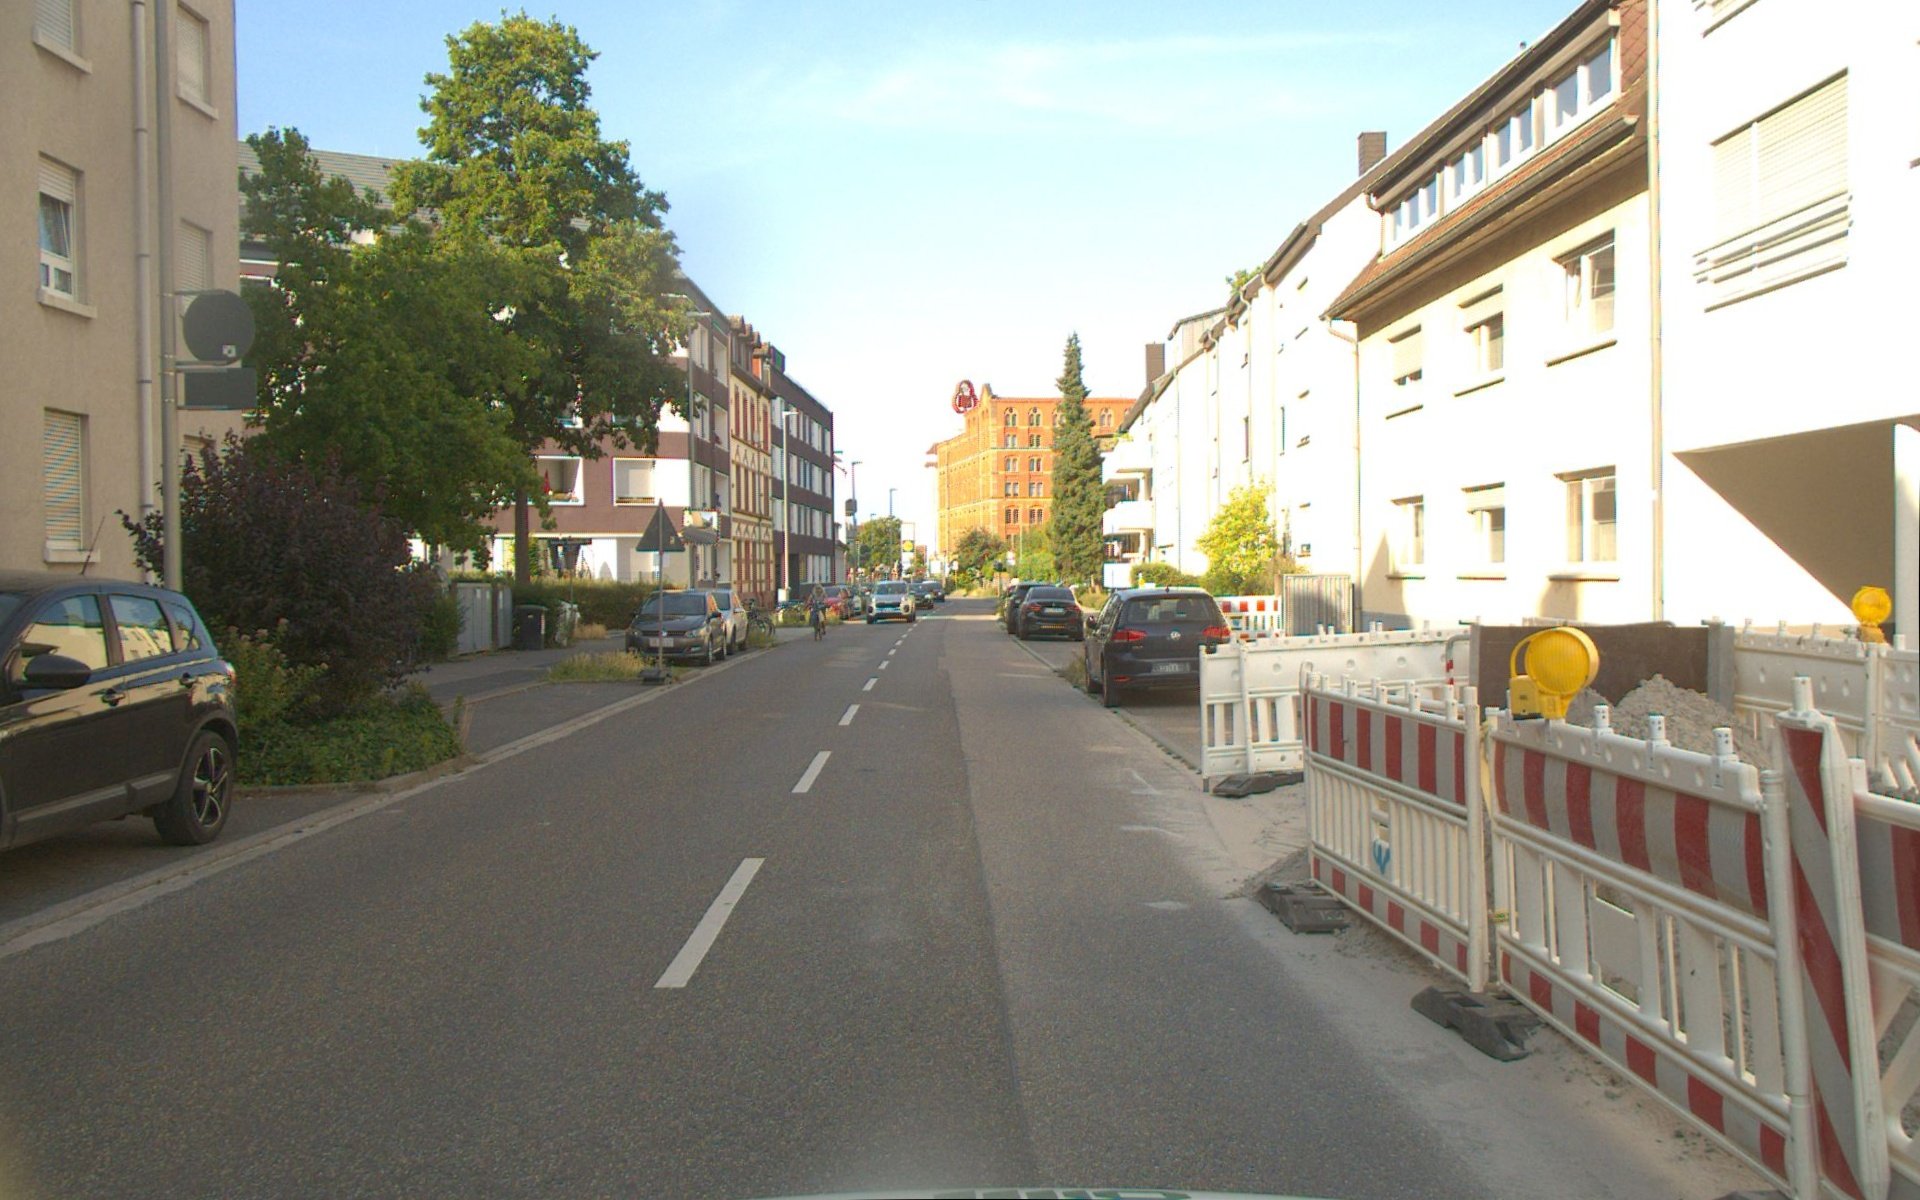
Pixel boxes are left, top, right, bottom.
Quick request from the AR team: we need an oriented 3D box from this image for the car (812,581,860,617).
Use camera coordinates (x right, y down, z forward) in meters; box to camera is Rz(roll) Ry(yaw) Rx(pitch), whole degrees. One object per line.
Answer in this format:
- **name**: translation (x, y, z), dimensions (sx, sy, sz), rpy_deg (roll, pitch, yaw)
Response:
- **car**: translation (-5.357, -0.046, 71.556), dimensions (1.802, 1.489, 3.584), rpy_deg (-1, 1, 0)

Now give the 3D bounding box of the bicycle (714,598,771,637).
- **bicycle**: translation (-6.114, 0.475, 46.613), dimensions (1.554, 1.059, 0.707), rpy_deg (-1, 0, -6)

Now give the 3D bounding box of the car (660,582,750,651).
- **car**: translation (-5.969, 0.348, 39.108), dimensions (1.642, 1.528, 3.998), rpy_deg (-1, 1, -2)

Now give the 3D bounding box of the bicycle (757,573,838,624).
- **bicycle**: translation (-6.068, -0.058, 61.856), dimensions (2.858, 1.808, 1.202), rpy_deg (-1, 0, 0)

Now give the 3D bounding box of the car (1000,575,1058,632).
- **car**: translation (2.139, 0.091, 51.771), dimensions (1.569, 1.674, 3.684), rpy_deg (-1, 1, -1)

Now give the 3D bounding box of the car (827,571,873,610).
- **car**: translation (-5.450, -0.473, 82.354), dimensions (1.953, 1.867, 3.689), rpy_deg (-1, 1, 0)

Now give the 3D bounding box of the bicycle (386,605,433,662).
- **bicycle**: translation (-10.504, 0.626, 31.602), dimensions (0.452, 1.040, 1.681), rpy_deg (-1, 1, -4)

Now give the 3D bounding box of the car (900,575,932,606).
- **car**: translation (-2.492, -0.562, 94.122), dimensions (1.728, 1.644, 3.999), rpy_deg (-2, 1, -1)

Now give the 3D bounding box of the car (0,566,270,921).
- **car**: translation (-5.256, 0.649, 8.510), dimensions (1.652, 1.631, 4.369), rpy_deg (0, 1, -1)

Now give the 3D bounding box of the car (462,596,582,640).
- **car**: translation (-14.118, 0.571, 53.391), dimensions (3.415, 1.310, 1.646), rpy_deg (-1, 1, -33)

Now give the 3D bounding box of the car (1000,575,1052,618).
- **car**: translation (2.508, -0.149, 63.846), dimensions (1.728, 1.552, 3.999), rpy_deg (-2, 1, -1)

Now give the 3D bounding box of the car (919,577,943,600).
- **car**: translation (-2.193, -0.871, 123.707), dimensions (1.728, 1.644, 3.999), rpy_deg (-2, 1, -1)

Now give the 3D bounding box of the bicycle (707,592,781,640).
- **bicycle**: translation (-5.866, 0.430, 45.036), dimensions (1.962, 1.238, 0.707), rpy_deg (-1, 0, -7)

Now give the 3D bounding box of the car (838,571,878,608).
- **car**: translation (-5.617, -0.588, 91.546), dimensions (1.953, 1.940, 4.000), rpy_deg (-1, 1, 0)

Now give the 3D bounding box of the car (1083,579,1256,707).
- **car**: translation (2.698, 0.495, 22.112), dimensions (1.792, 1.508, 3.943), rpy_deg (-2, 1, 0)

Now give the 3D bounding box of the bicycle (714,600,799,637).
- **bicycle**: translation (-5.642, 0.503, 45.907), dimensions (2.295, 0.987, 0.707), rpy_deg (-1, 1, -6)

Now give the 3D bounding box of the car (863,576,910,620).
- **car**: translation (-2.914, -0.104, 66.453), dimensions (1.728, 1.644, 3.999), rpy_deg (-2, 1, -1)

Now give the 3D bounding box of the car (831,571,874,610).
- **car**: translation (-5.653, -0.518, 87.468), dimensions (1.953, 1.945, 3.689), rpy_deg (-1, 1, 0)

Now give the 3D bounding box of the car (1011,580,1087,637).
- **car**: translation (2.456, 0.205, 46.536), dimensions (1.821, 1.497, 3.999), rpy_deg (-1, 1, -1)

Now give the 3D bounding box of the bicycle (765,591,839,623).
- **bicycle**: translation (-6.079, 0.262, 63.630), dimensions (2.716, 1.164, 1.143), rpy_deg (-1, 0, 0)

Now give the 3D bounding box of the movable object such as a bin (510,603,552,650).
- **movable object such as a bin**: translation (-10.187, 0.617, 39.279), dimensions (0.737, 1.058, 0.816), rpy_deg (2, 0, 0)

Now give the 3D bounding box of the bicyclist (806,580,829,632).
- **bicyclist**: translation (-4.076, 0.155, 47.340), dimensions (0.578, 1.467, 0.751), rpy_deg (-1, 0, 0)

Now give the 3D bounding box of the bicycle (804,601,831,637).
- **bicycle**: translation (-4.073, 0.534, 47.352), dimensions (0.596, 0.959, 1.811), rpy_deg (-1, 1, 0)

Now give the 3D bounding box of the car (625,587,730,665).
- **car**: translation (-5.623, 0.478, 33.273), dimensions (1.542, 1.445, 3.803), rpy_deg (0, 1, -1)
